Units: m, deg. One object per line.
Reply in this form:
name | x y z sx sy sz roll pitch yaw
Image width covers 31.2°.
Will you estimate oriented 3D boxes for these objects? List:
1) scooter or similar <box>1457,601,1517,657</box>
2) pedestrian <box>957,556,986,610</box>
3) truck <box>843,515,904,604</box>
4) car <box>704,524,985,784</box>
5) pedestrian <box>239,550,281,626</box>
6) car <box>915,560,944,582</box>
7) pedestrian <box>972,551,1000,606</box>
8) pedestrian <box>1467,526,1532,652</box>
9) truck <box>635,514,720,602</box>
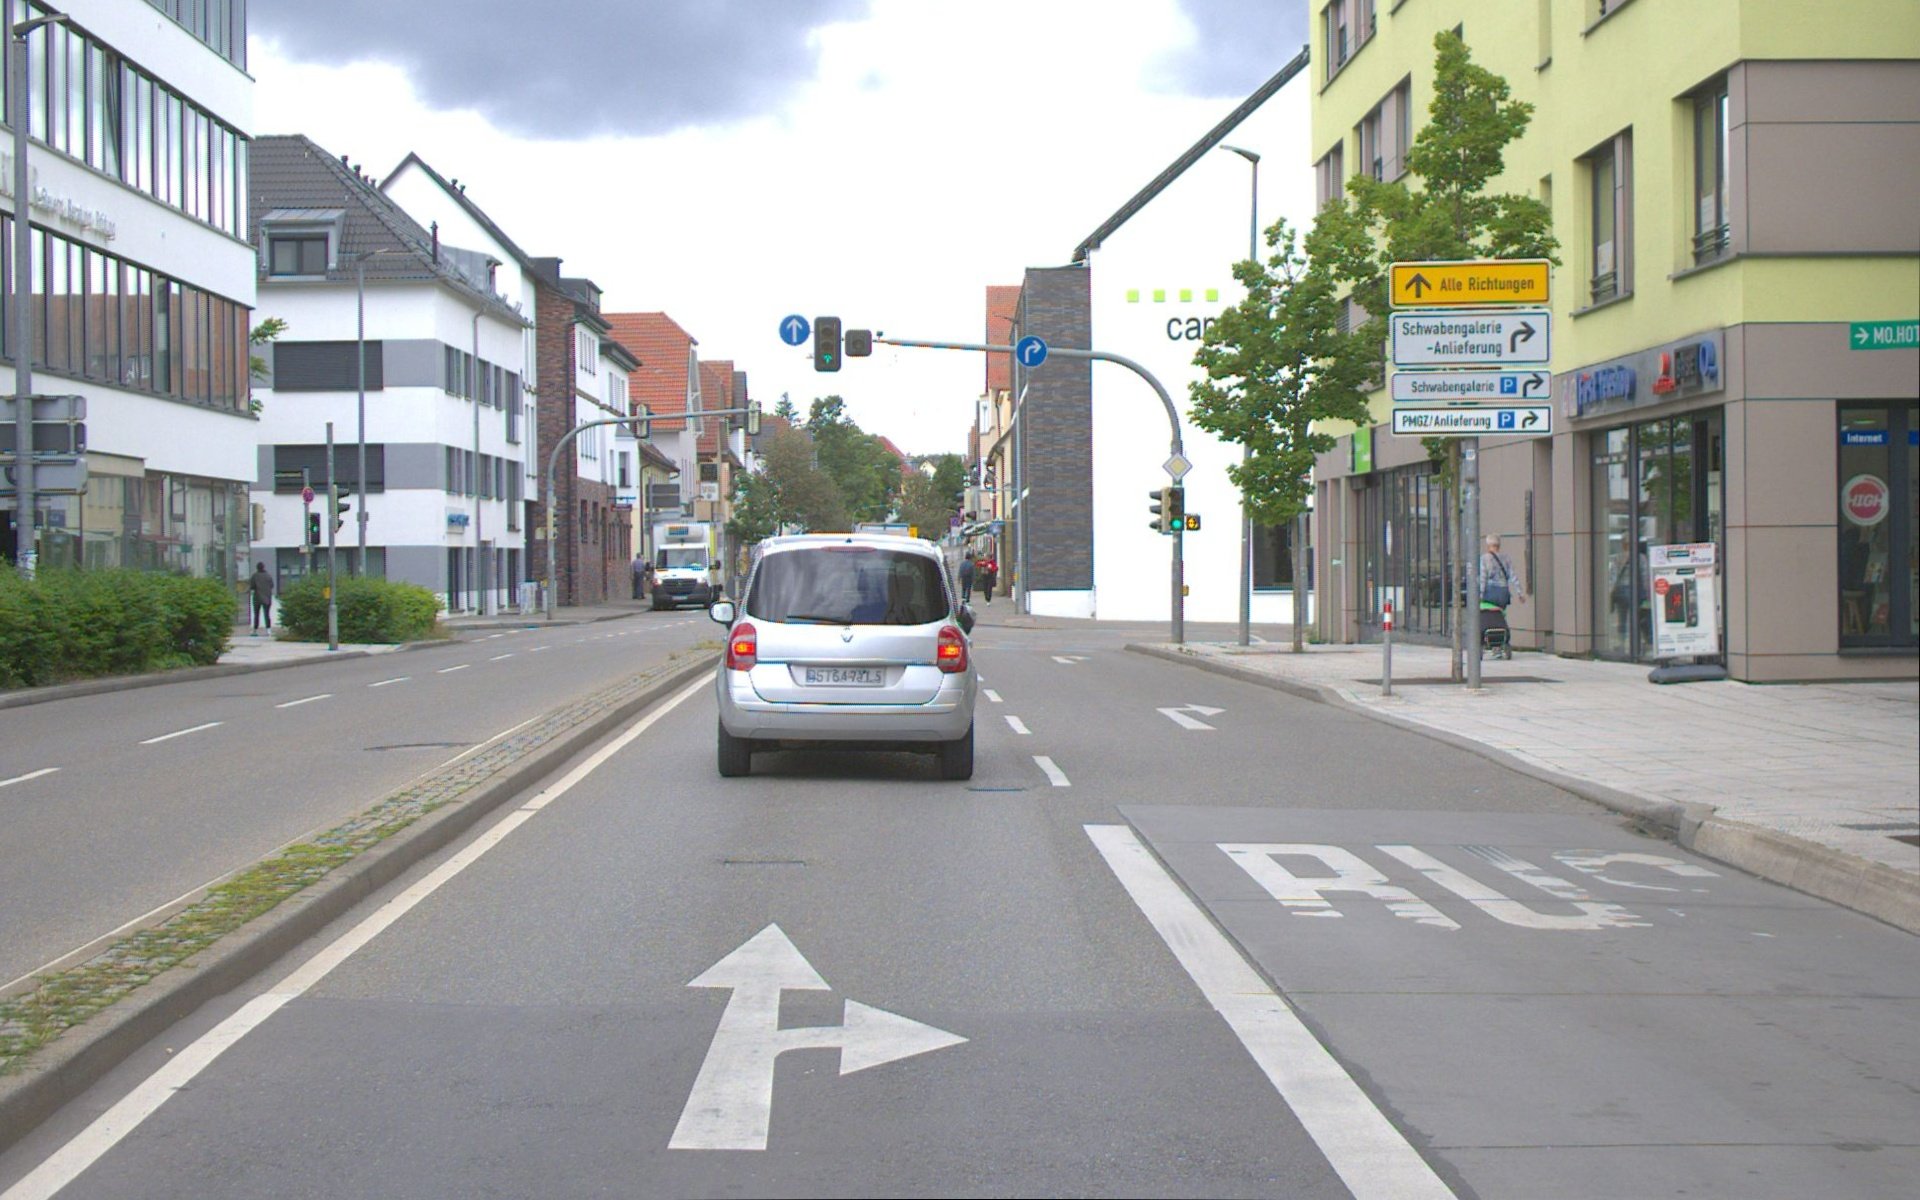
scooter or similar | 6.638 0.361 43.317 0.592 0.670 0.824 -1 1 -2
pedestrian | 0.383 -0.587 117.629 0.889 1.781 0.785 -3 1 0
truck | -3.804 -1.796 152.156 2.595 3.844 6.849 0 1 -1
car | -0.765 0.313 23.414 1.706 1.573 4.000 2 1 -1
pedestrian | -15.810 -0.281 77.616 0.881 1.664 0.814 -1 3 -13
car | -1.926 -1.849 220.135 1.812 1.349 4.000 -1 1 0
pedestrian | 0.862 -0.716 113.673 0.807 1.781 0.861 -3 1 0
pedestrian | 6.908 -0.148 44.040 0.695 1.588 0.603 -1 1 -2
truck | -9.814 -1.474 120.087 2.435 2.943 8.365 1 1 -1
